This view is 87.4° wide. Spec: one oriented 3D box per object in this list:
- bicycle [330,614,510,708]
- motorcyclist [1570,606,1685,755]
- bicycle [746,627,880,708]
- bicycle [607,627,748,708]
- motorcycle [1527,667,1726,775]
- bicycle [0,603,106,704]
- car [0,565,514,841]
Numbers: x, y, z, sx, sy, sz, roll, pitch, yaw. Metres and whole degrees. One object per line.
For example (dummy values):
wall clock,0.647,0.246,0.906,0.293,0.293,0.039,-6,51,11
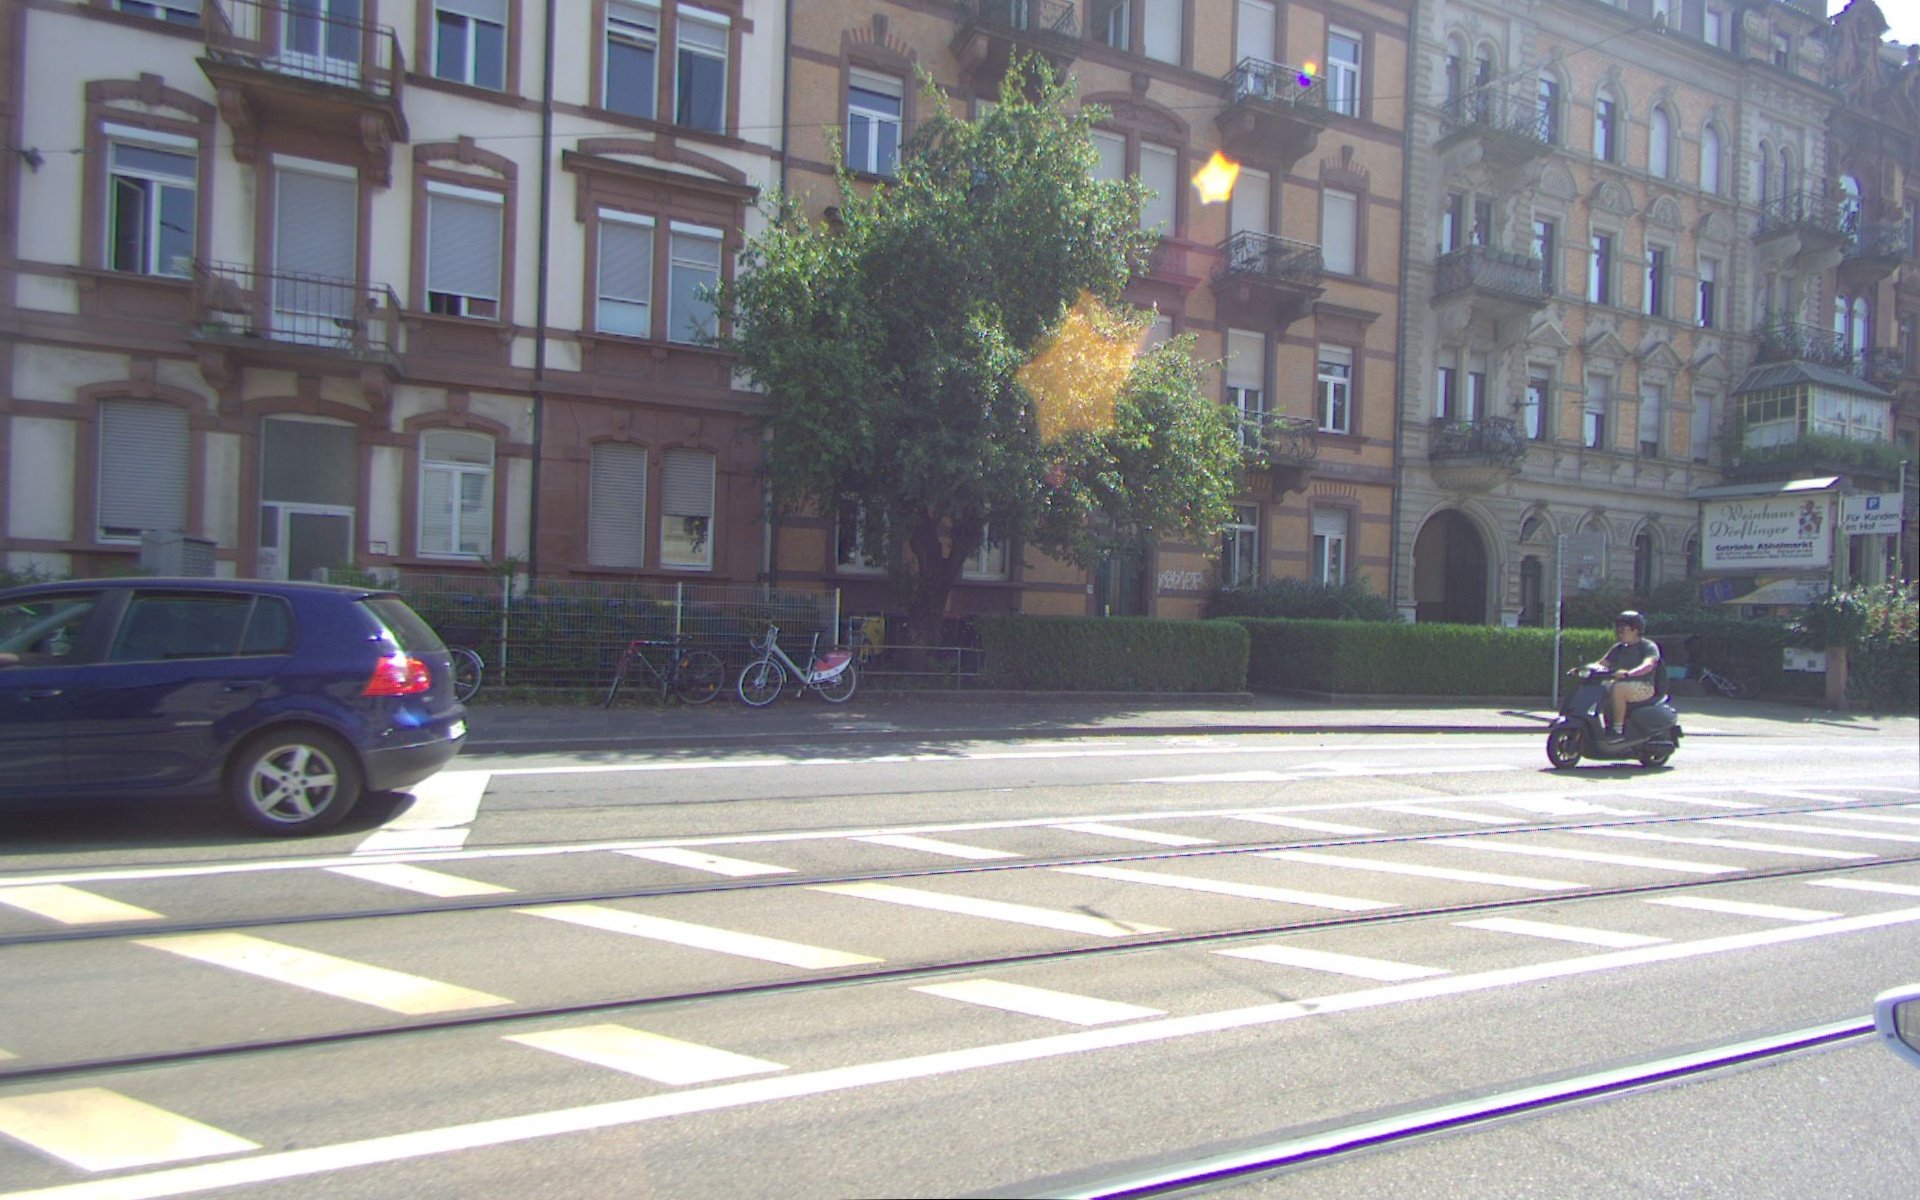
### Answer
bicycle,-6.232,0.713,11.678,1.750,1.035,0.487,2,0,-20
motorcyclist,7.182,0.851,10.828,0.761,1.531,0.688,2,-1,-21
bicycle,-1.902,0.879,13.048,1.631,0.999,0.487,2,0,-20
bicycle,-3.521,0.846,12.543,1.631,0.954,0.487,2,0,-20
motorcycle,7.202,1.282,10.839,2.126,1.045,0.690,2,-1,-22
bicycle,-10.255,0.556,10.953,1.793,1.010,0.489,2,0,16
car,-5.108,0.569,6.178,4.113,1.452,1.725,3,-2,-19
